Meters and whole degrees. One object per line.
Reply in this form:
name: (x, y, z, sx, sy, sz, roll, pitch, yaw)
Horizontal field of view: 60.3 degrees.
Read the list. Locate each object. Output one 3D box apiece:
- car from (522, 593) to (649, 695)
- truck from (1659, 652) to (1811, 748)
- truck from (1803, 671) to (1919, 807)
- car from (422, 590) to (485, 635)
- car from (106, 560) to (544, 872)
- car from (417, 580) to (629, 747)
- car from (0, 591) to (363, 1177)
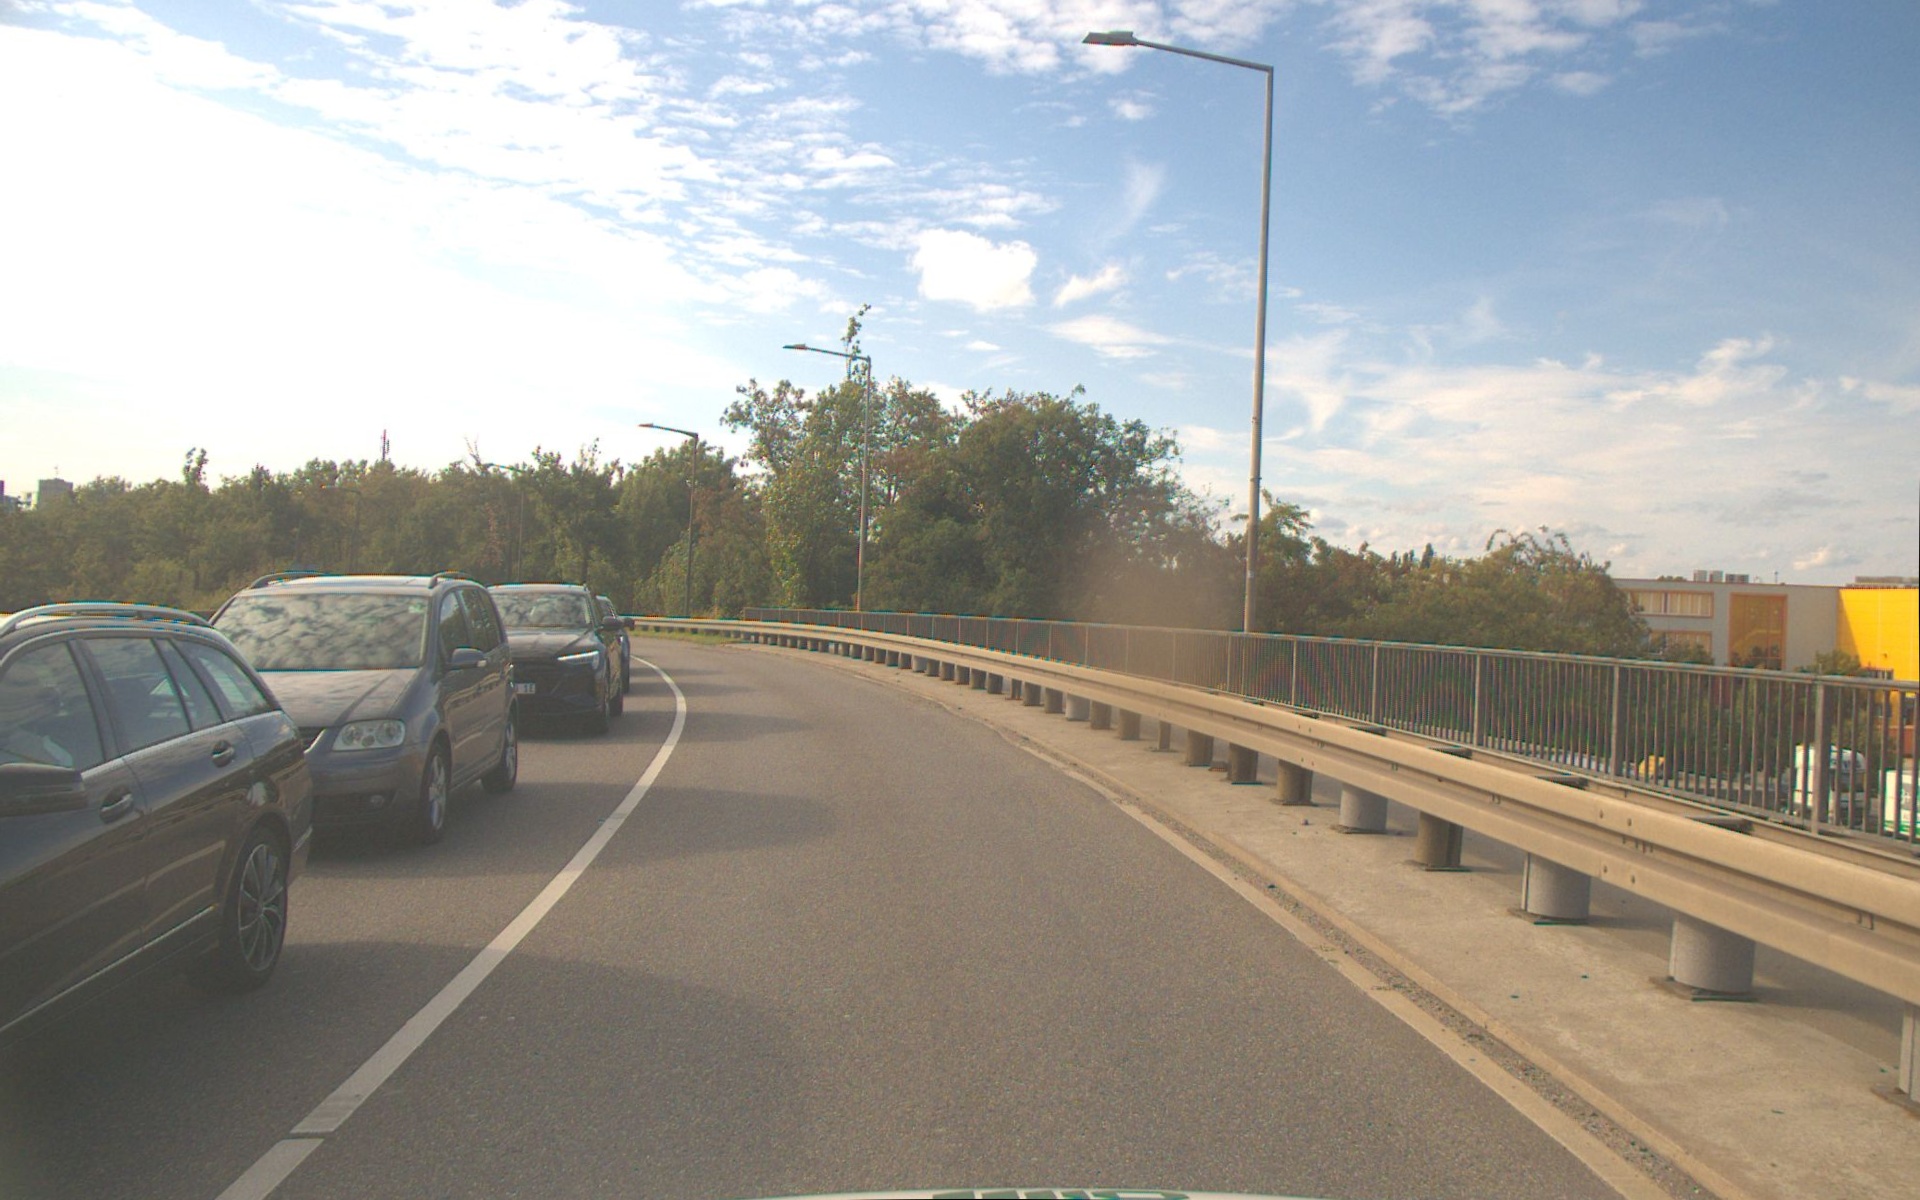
car: (-6.136, 0.670, 27.433, 1.766, 1.546, 3.999, -1, 0, -9)
truck: (45.110, 5.697, 96.796, 3.555, 4.940, 11.276, 0, 0, 0)
truck: (45.401, 6.528, 79.954, 3.555, 5.758, 11.276, 0, 0, 0)
car: (-21.754, 0.535, 70.928, 1.877, 1.842, 5.361, 0, 0, -25)
car: (-4.002, 0.622, 11.186, 1.649, 1.678, 4.293, -1, 0, -5)
car: (-4.915, 0.638, 19.189, 1.890, 1.678, 4.579, -1, 0, -9)
car: (-3.389, 0.730, 4.917, 1.796, 1.491, 4.515, -1, 0, -3)
